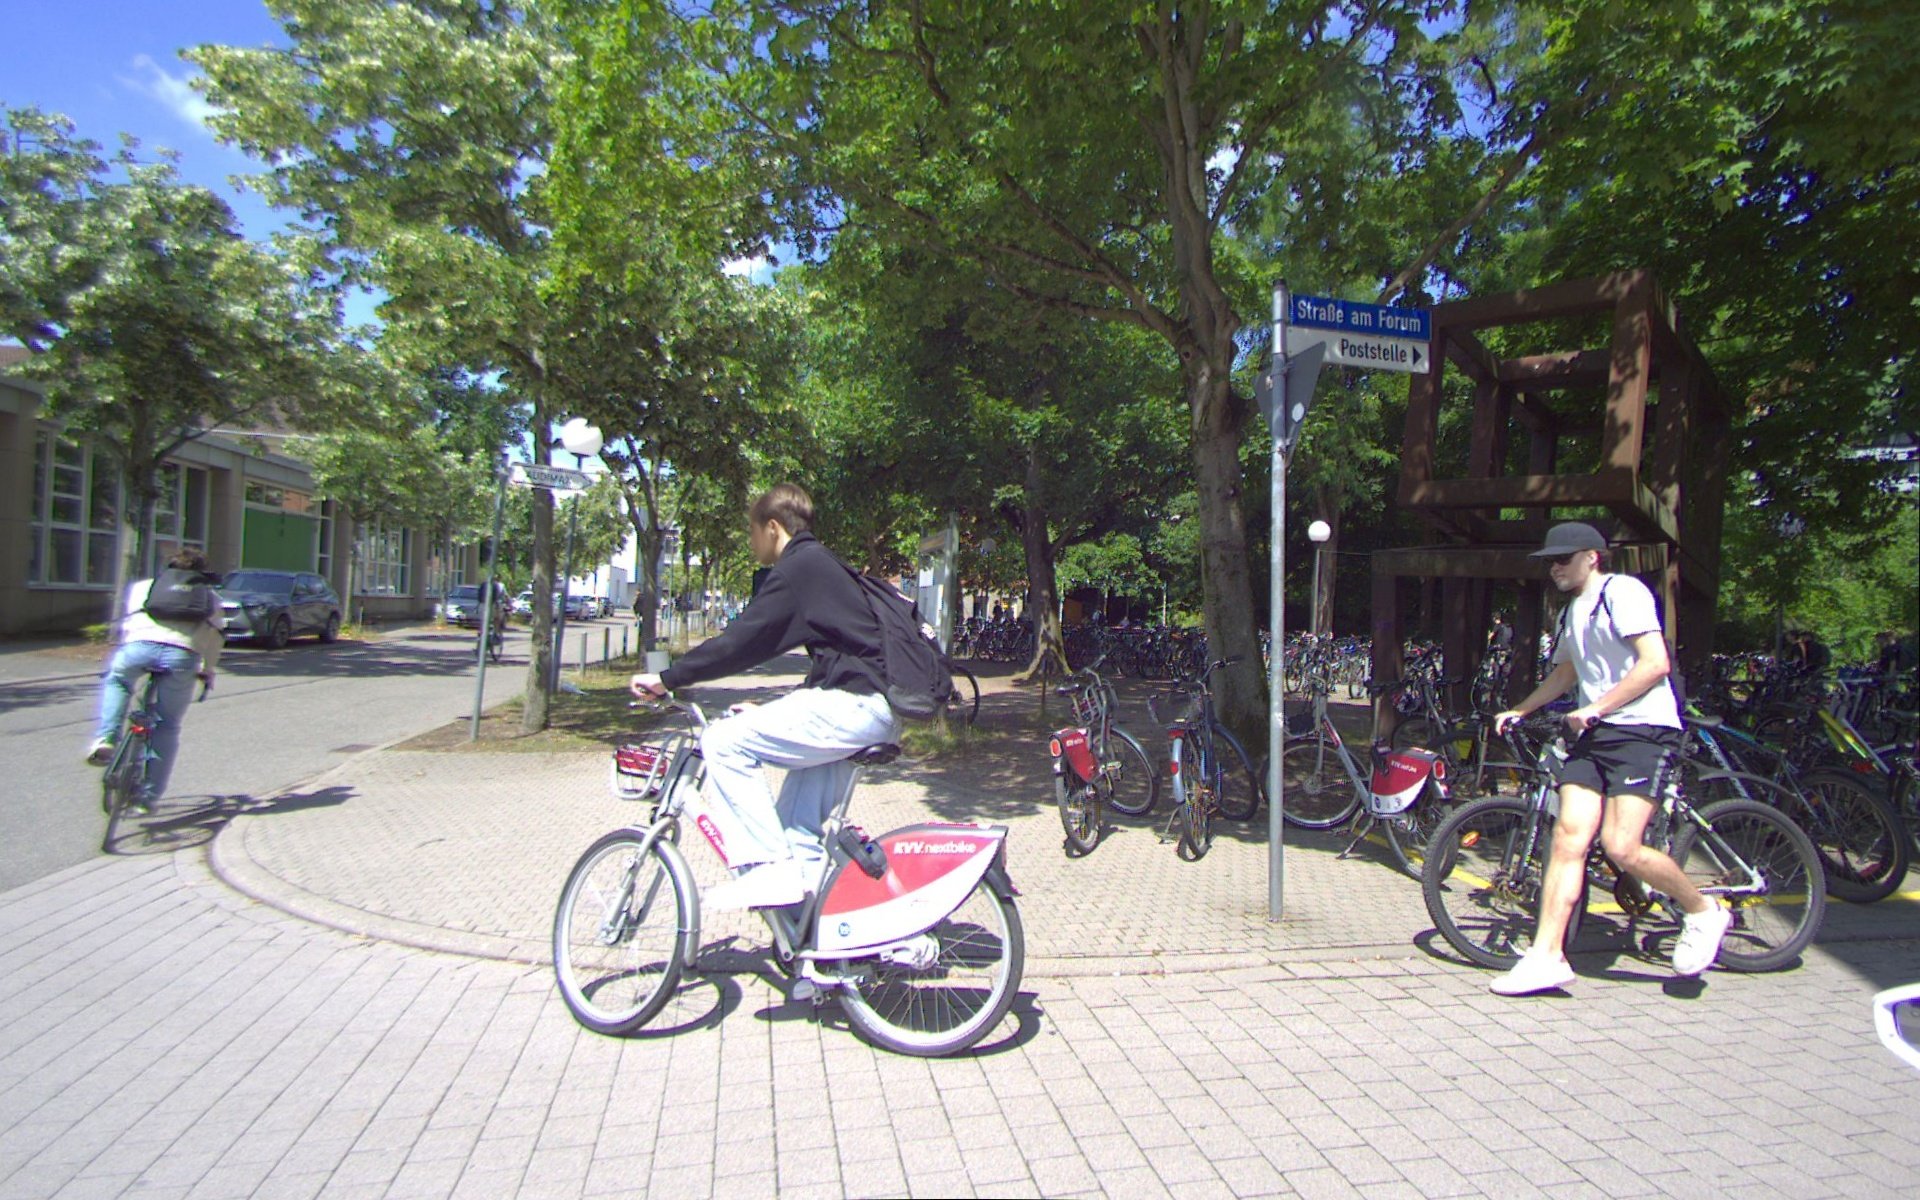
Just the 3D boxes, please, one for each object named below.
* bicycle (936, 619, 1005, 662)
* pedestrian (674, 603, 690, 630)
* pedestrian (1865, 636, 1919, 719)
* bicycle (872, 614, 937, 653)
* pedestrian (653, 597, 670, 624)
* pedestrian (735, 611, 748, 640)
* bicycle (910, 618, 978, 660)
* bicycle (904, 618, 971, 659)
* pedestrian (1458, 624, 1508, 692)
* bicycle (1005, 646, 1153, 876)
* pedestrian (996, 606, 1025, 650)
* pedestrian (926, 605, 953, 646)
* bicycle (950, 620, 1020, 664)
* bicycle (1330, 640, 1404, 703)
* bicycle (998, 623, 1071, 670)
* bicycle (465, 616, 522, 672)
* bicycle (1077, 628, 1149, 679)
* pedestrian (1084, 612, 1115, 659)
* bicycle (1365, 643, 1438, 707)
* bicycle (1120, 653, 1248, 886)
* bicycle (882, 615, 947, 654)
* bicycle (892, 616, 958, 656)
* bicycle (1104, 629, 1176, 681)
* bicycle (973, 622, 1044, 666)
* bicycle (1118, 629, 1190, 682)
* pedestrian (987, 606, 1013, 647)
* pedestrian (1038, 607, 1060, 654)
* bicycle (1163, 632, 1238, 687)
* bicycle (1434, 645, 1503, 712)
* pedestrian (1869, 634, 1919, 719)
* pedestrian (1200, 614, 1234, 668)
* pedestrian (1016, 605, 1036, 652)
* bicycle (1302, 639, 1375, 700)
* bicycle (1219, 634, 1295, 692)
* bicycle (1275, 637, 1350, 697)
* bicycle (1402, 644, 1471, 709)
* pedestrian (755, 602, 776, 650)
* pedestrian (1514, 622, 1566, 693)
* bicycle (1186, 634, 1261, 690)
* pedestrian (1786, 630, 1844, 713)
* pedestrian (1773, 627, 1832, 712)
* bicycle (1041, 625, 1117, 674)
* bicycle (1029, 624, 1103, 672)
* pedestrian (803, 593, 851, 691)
[{"bbox_3d":[0.302,1.119,27.682,2.013,1.122,0.497,3,0,-39],"label":"bicycle"},{"bbox_3d":[-19.419,1.136,70.095,0.762,1.798,0.898,3,0,-34],"label":"pedestrian"},{"bbox_3d":[20.236,1.664,21.714,0.765,1.702,0.895,3,0,-45],"label":"pedestrian"},{"bbox_3d":[-1.684,1.040,30.728,2.013,1.122,0.497,3,0,-39],"label":"bicycle"},{"bbox_3d":[-20.631,0.738,69.422,0.762,1.798,0.898,3,0,-34],"label":"pedestrian"},{"bbox_3d":[-12.316,1.434,56.655,0.611,1.540,0.735,3,0,-9],"label":"pedestrian"},{"bbox_3d":[-0.441,1.130,28.754,2.013,1.122,0.497,3,0,-39],"label":"bicycle"},{"bbox_3d":[-0.632,1.130,29.140,2.013,1.122,0.497,3,0,-39],"label":"bicycle"},{"bbox_3d":[14.347,1.584,27.571,0.762,1.798,0.898,3,0,-34],"label":"pedestrian"},{"bbox_3d":[0.793,0.903,6.269,0.626,1.175,1.630,0,0,17],"label":"bicycle"},{"bbox_3d":[2.121,1.161,42.223,0.761,1.798,0.900,3,0,-29],"label":"pedestrian"},{"bbox_3d":[-0.927,1.162,45.732,0.909,1.798,0.780,3,0,-29],"label":"pedestrian"},{"bbox_3d":[0.683,1.157,27.188,2.013,1.122,0.497,3,0,-39],"label":"bicycle"},{"bbox_3d":[7.806,1.351,19.219,1.893,1.122,0.496,3,0,-42],"label":"bicycle"},{"bbox_3d":[1.923,1.195,25.682,2.013,1.122,0.497,3,0,-39],"label":"bicycle"},{"bbox_3d":[-9.771,0.896,21.092,0.594,1.122,2.068,1,-1,-12],"label":"bicycle"},{"bbox_3d":[3.598,1.257,23.507,2.017,1.122,0.496,3,0,-45],"label":"bicycle"},{"bbox_3d":[5.496,1.389,39.589,0.761,1.798,0.900,3,0,-29],"label":"pedestrian"},{"bbox_3d":[8.367,1.411,19.007,1.893,1.122,0.496,3,0,-42],"label":"bicycle"},{"bbox_3d":[1.409,0.924,6.108,0.578,1.123,1.746,0,0,18],"label":"bicycle"},{"bbox_3d":[-1.354,1.049,30.325,2.013,1.122,0.497,3,0,-39],"label":"bicycle"},{"bbox_3d":[-1.030,1.070,29.755,2.013,1.122,0.497,3,0,-39],"label":"bicycle"},{"bbox_3d":[4.125,1.248,22.955,2.017,1.122,0.496,3,0,-45],"label":"bicycle"},{"bbox_3d":[1.306,1.175,26.644,2.013,1.122,0.497,3,0,-39],"label":"bicycle"},{"bbox_3d":[4.404,1.246,22.656,2.017,1.122,0.496,3,0,-45],"label":"bicycle"},{"bbox_3d":[1.847,1.238,46.710,0.761,1.826,0.900,3,0,-29],"label":"pedestrian"},{"bbox_3d":[3.519,1.213,39.715,0.600,1.798,0.656,3,0,-19],"label":"pedestrian"},{"bbox_3d":[5.218,1.290,21.706,1.991,1.122,0.496,3,0,-42],"label":"bicycle"},{"bbox_3d":[9.197,1.402,18.131,0.496,1.122,1.895,3,0,45],"label":"bicycle"},{"bbox_3d":[20.898,1.689,22.351,0.765,1.798,0.895,3,0,-45],"label":"pedestrian"},{"bbox_3d":[8.877,1.413,34.705,0.756,1.798,0.905,3,0,-11],"label":"pedestrian"},{"bbox_3d":[2.613,1.125,39.544,0.495,1.795,0.668,3,0,-19],"label":"pedestrian"},{"bbox_3d":[7.470,1.359,19.769,1.893,1.122,0.496,3,0,-42],"label":"bicycle"},{"bbox_3d":[6.166,1.299,20.760,1.991,1.122,0.496,3,0,-42],"label":"bicycle"},{"bbox_3d":[7.088,1.340,20.144,1.991,1.122,0.496,3,0,-42],"label":"bicycle"},{"bbox_3d":[8.772,1.389,18.463,0.496,1.122,1.895,3,0,45],"label":"bicycle"},{"bbox_3d":[-6.436,0.852,33.220,0.561,1.540,0.838,3,0,-13],"label":"pedestrian"},{"bbox_3d":[15.501,1.526,26.831,0.762,1.798,0.899,3,0,-33],"label":"pedestrian"},{"bbox_3d":[5.595,1.312,21.253,1.991,1.122,0.496,3,0,-42],"label":"bicycle"},{"bbox_3d":[19.500,1.612,22.902,0.765,1.798,0.895,3,0,-45],"label":"pedestrian"},{"bbox_3d":[18.832,1.538,22.460,0.765,1.798,0.895,3,0,-45],"label":"pedestrian"},{"bbox_3d":[2.894,1.206,24.265,2.013,1.122,0.497,3,0,-39],"label":"bicycle"},{"bbox_3d":[2.632,1.199,24.739,2.013,1.122,0.497,3,0,-39],"label":"bicycle"},{"bbox_3d":[-2.406,0.742,18.129,0.716,1.706,0.871,2,-1,-15],"label":"pedestrian"}]
